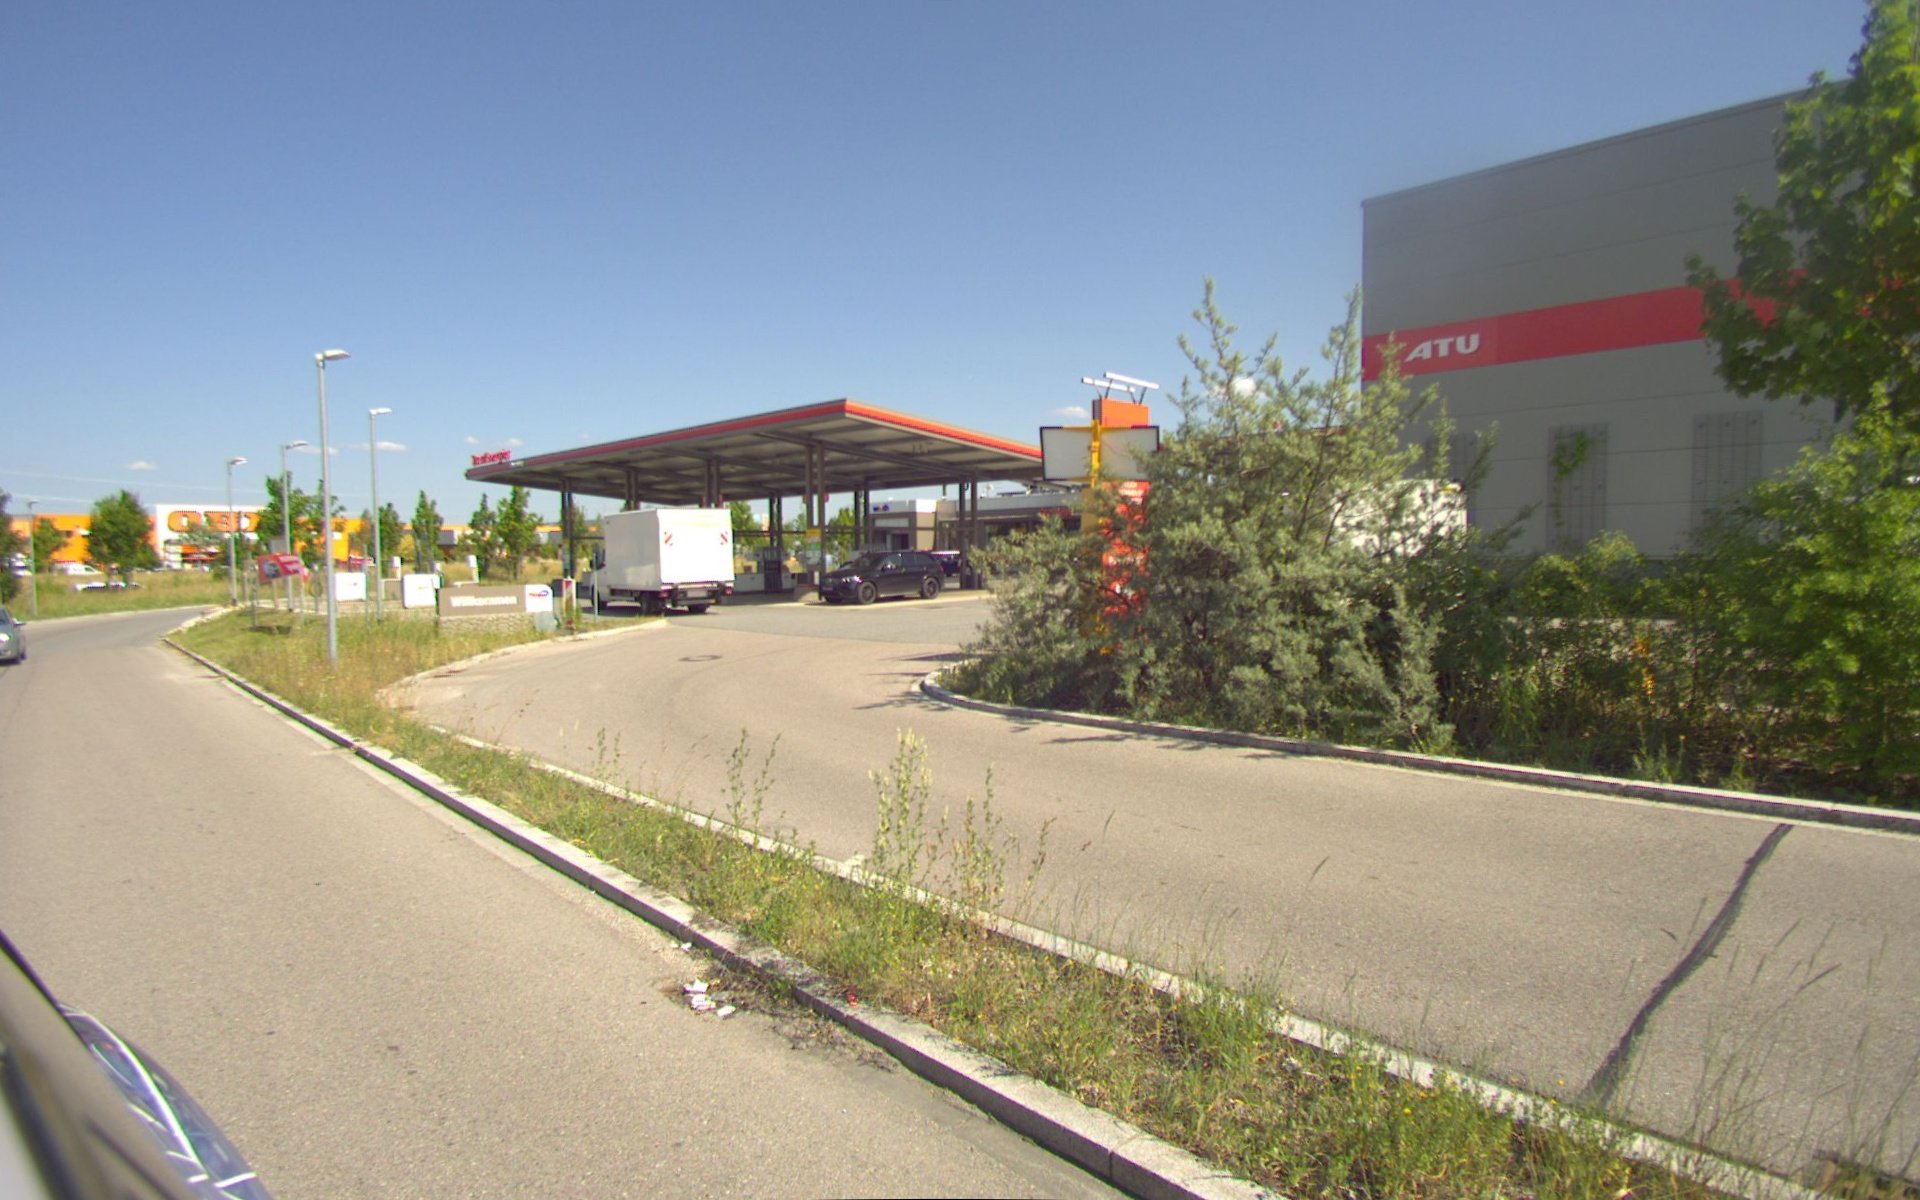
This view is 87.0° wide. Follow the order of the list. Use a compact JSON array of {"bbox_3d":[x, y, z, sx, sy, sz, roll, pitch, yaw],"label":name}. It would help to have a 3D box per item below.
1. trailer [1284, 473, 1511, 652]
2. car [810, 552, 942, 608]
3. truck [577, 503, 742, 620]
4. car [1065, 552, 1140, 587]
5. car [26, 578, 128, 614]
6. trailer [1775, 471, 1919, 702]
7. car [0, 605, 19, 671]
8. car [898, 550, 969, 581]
[{"bbox_3d":[5.631,-0.487,13.470,1.977,2.028,3.198,-2,2,9],"label":"trailer"},{"bbox_3d":[-2.849,-0.715,35.154,1.796,1.771,4.457,0,3,43],"label":"car"},{"bbox_3d":[-9.784,-1.167,32.403,2.600,3.343,6.920,-3,2,-38],"label":"truck"},{"bbox_3d":[6.926,-1.499,48.885,1.794,1.541,3.948,0,2,39],"label":"car"},{"bbox_3d":[-55.444,-0.306,63.602,4.688,2.028,2.002,-4,3,-43],"label":"car"},{"bbox_3d":[9.733,-0.192,9.869,1.985,2.028,2.718,-1,2,21],"label":"trailer"},{"bbox_3d":[-23.682,0.875,24.194,1.721,1.479,3.964,0,0,-43],"label":"car"},{"bbox_3d":[-1.457,-1.938,56.939,3.626,1.586,1.700,-3,2,-36],"label":"car"}]
